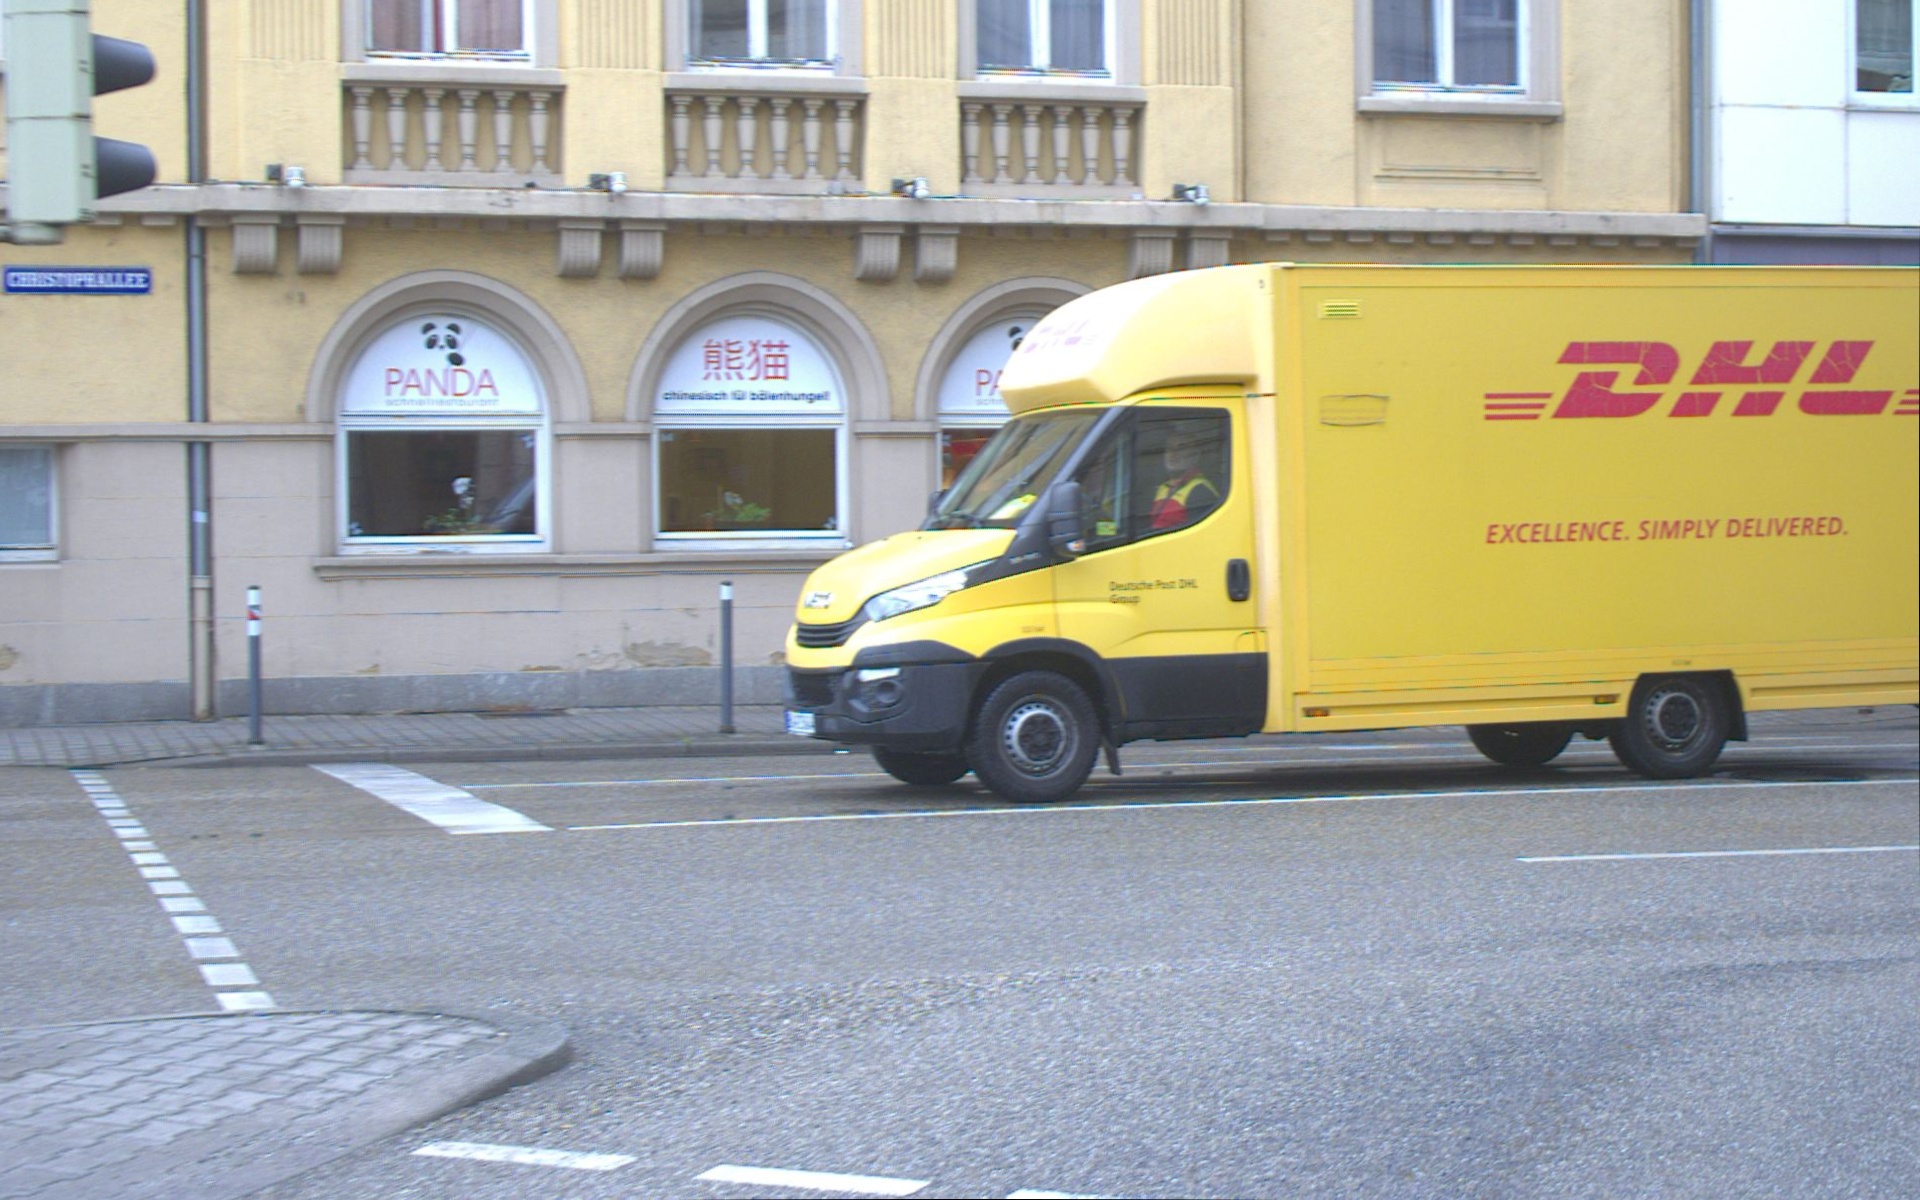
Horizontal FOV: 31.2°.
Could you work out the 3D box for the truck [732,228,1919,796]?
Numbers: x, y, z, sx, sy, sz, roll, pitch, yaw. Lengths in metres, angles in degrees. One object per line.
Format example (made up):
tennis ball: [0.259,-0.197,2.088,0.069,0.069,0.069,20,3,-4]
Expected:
truck: [2.436,-0.503,19.317,7.089,2.841,2.083,-1,1,-19]
